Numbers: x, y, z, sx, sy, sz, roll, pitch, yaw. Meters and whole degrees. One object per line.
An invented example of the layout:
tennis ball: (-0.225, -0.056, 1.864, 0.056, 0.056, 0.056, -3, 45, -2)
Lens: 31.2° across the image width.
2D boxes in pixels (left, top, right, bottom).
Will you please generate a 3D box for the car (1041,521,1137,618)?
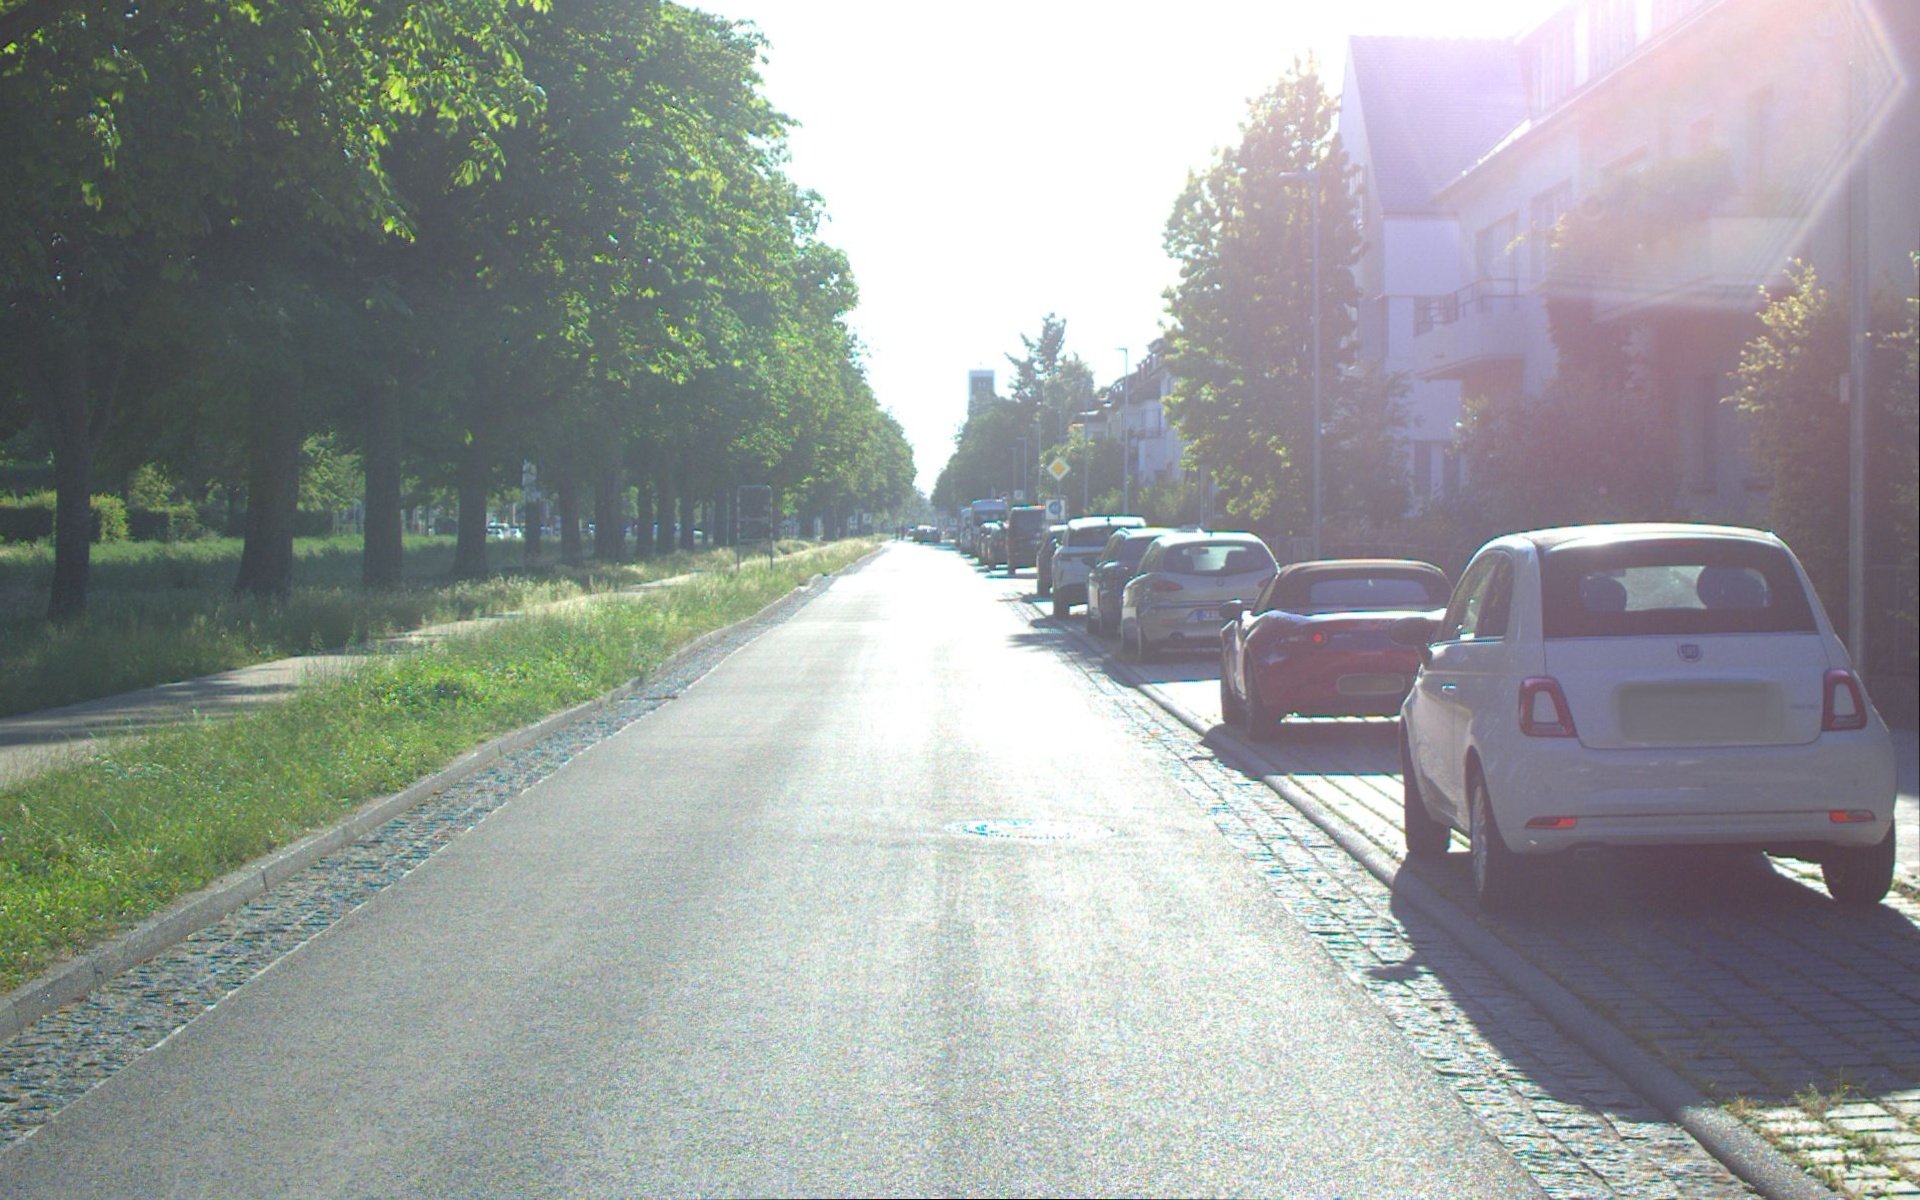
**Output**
car: (2.113, -0.526, 56.979, 1.498, 1.561, 3.267, 0, 1, 1)

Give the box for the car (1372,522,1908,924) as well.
car: (2.767, 0.430, 14.697, 1.592, 1.504, 3.592, 0, 1, 0)

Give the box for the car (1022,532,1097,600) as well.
car: (2.255, -0.790, 78.611, 1.652, 1.536, 3.267, 0, 1, 1)

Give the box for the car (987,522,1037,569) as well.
car: (1.788, -1.884, 118.732, 1.652, 1.536, 3.267, 1, 1, 1)

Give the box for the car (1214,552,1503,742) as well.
car: (2.777, 0.288, 24.578, 1.693, 1.244, 3.497, 0, 1, 1)

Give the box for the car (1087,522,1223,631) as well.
car: (2.552, -0.328, 45.564, 1.652, 1.391, 3.267, 0, 1, 1)

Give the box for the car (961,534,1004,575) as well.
car: (0.884, -1.810, 136.399, 1.652, 1.536, 3.267, 1, 1, 1)

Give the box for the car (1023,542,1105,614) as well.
car: (2.094, -0.463, 69.668, 1.594, 1.429, 3.267, 0, 1, 1)

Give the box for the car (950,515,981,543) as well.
car: (0.309, -3.973, 193.724, 1.652, 1.536, 3.267, 1, 1, 0)

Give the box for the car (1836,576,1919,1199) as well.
car: (2.813, 0.675, 5.256, 1.736, 1.444, 4.197, -1, 1, -2)

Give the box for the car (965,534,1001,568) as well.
car: (1.113, -2.332, 162.946, 1.652, 1.536, 3.267, 1, 1, 1)

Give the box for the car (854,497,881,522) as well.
car: (-6.143, -6.009, 228.542, 1.652, 1.536, 3.267, 1, 1, 0)

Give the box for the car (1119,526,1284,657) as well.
car: (2.658, -0.118, 38.403, 1.652, 1.391, 3.267, 0, 1, 1)
